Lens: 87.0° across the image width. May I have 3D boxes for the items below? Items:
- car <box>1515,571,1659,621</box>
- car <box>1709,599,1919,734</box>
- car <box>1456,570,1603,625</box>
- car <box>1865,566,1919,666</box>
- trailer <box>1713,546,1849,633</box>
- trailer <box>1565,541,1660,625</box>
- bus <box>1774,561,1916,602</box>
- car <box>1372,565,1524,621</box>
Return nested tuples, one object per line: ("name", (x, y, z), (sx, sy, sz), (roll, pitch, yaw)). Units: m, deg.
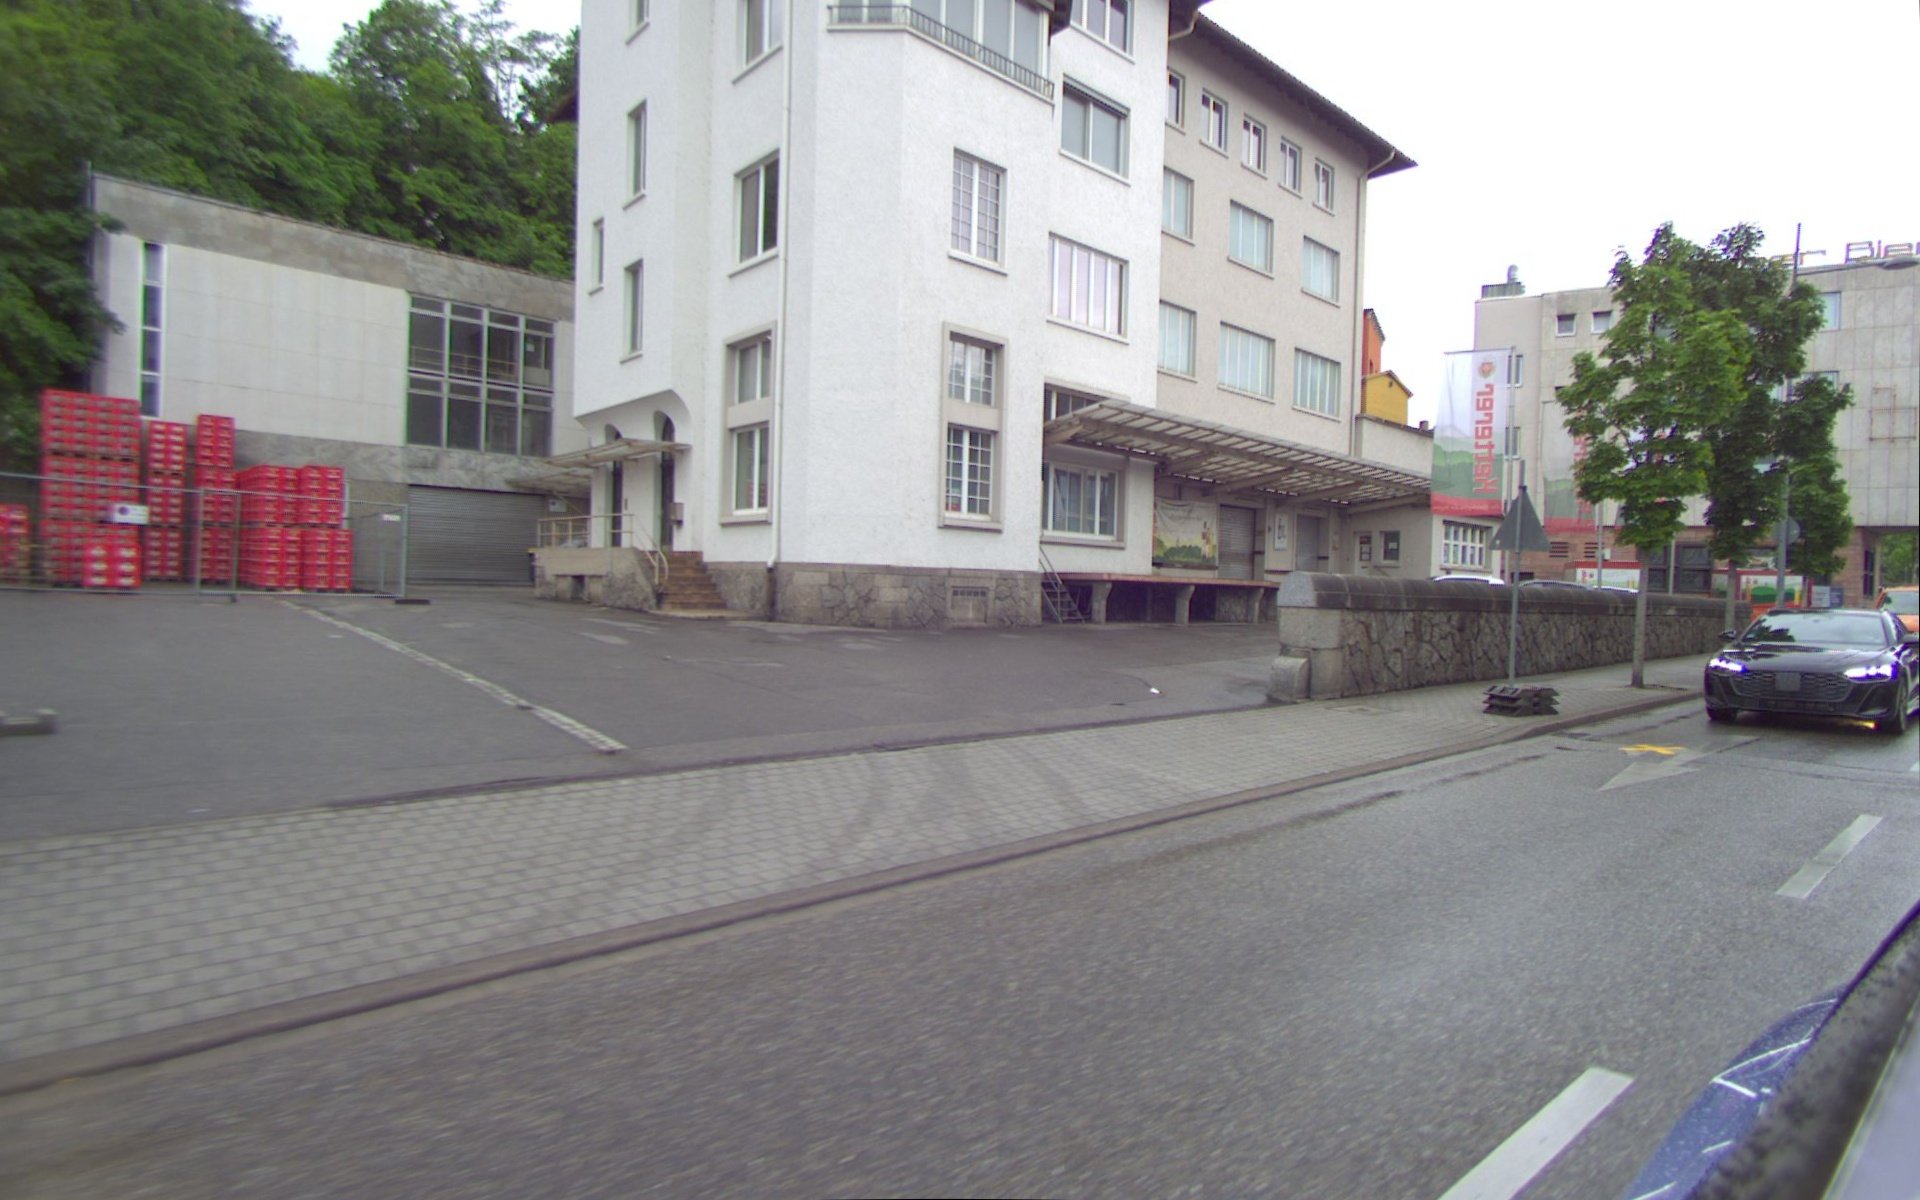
("car", (23.933, -0.172, 38.776), (4.212, 1.669, 1.860), (3, 1, 13))
("car", (11.347, 0.718, 13.068), (4.553, 1.420, 1.792), (0, 1, -41))
("car", (19.261, -0.109, 34.406), (3.941, 1.602, 1.764), (3, 1, 14))
("car", (22.479, 0.349, 23.129), (5.446, 2.115, 2.105), (0, 1, -42))
("trailer", (33.202, -0.498, 41.190), (2.607, 3.215, 5.674), (3, 2, 23))
("trailer", (28.257, -0.766, 44.046), (2.724, 3.348, 6.016), (2, 1, 27))
("bus", (80.564, -1.752, 92.445), (2.648, 3.255, 9.684), (3, 2, -16))
("car", (15.443, -0.210, 32.224), (3.916, 1.588, 1.922), (2, -1, 9))
